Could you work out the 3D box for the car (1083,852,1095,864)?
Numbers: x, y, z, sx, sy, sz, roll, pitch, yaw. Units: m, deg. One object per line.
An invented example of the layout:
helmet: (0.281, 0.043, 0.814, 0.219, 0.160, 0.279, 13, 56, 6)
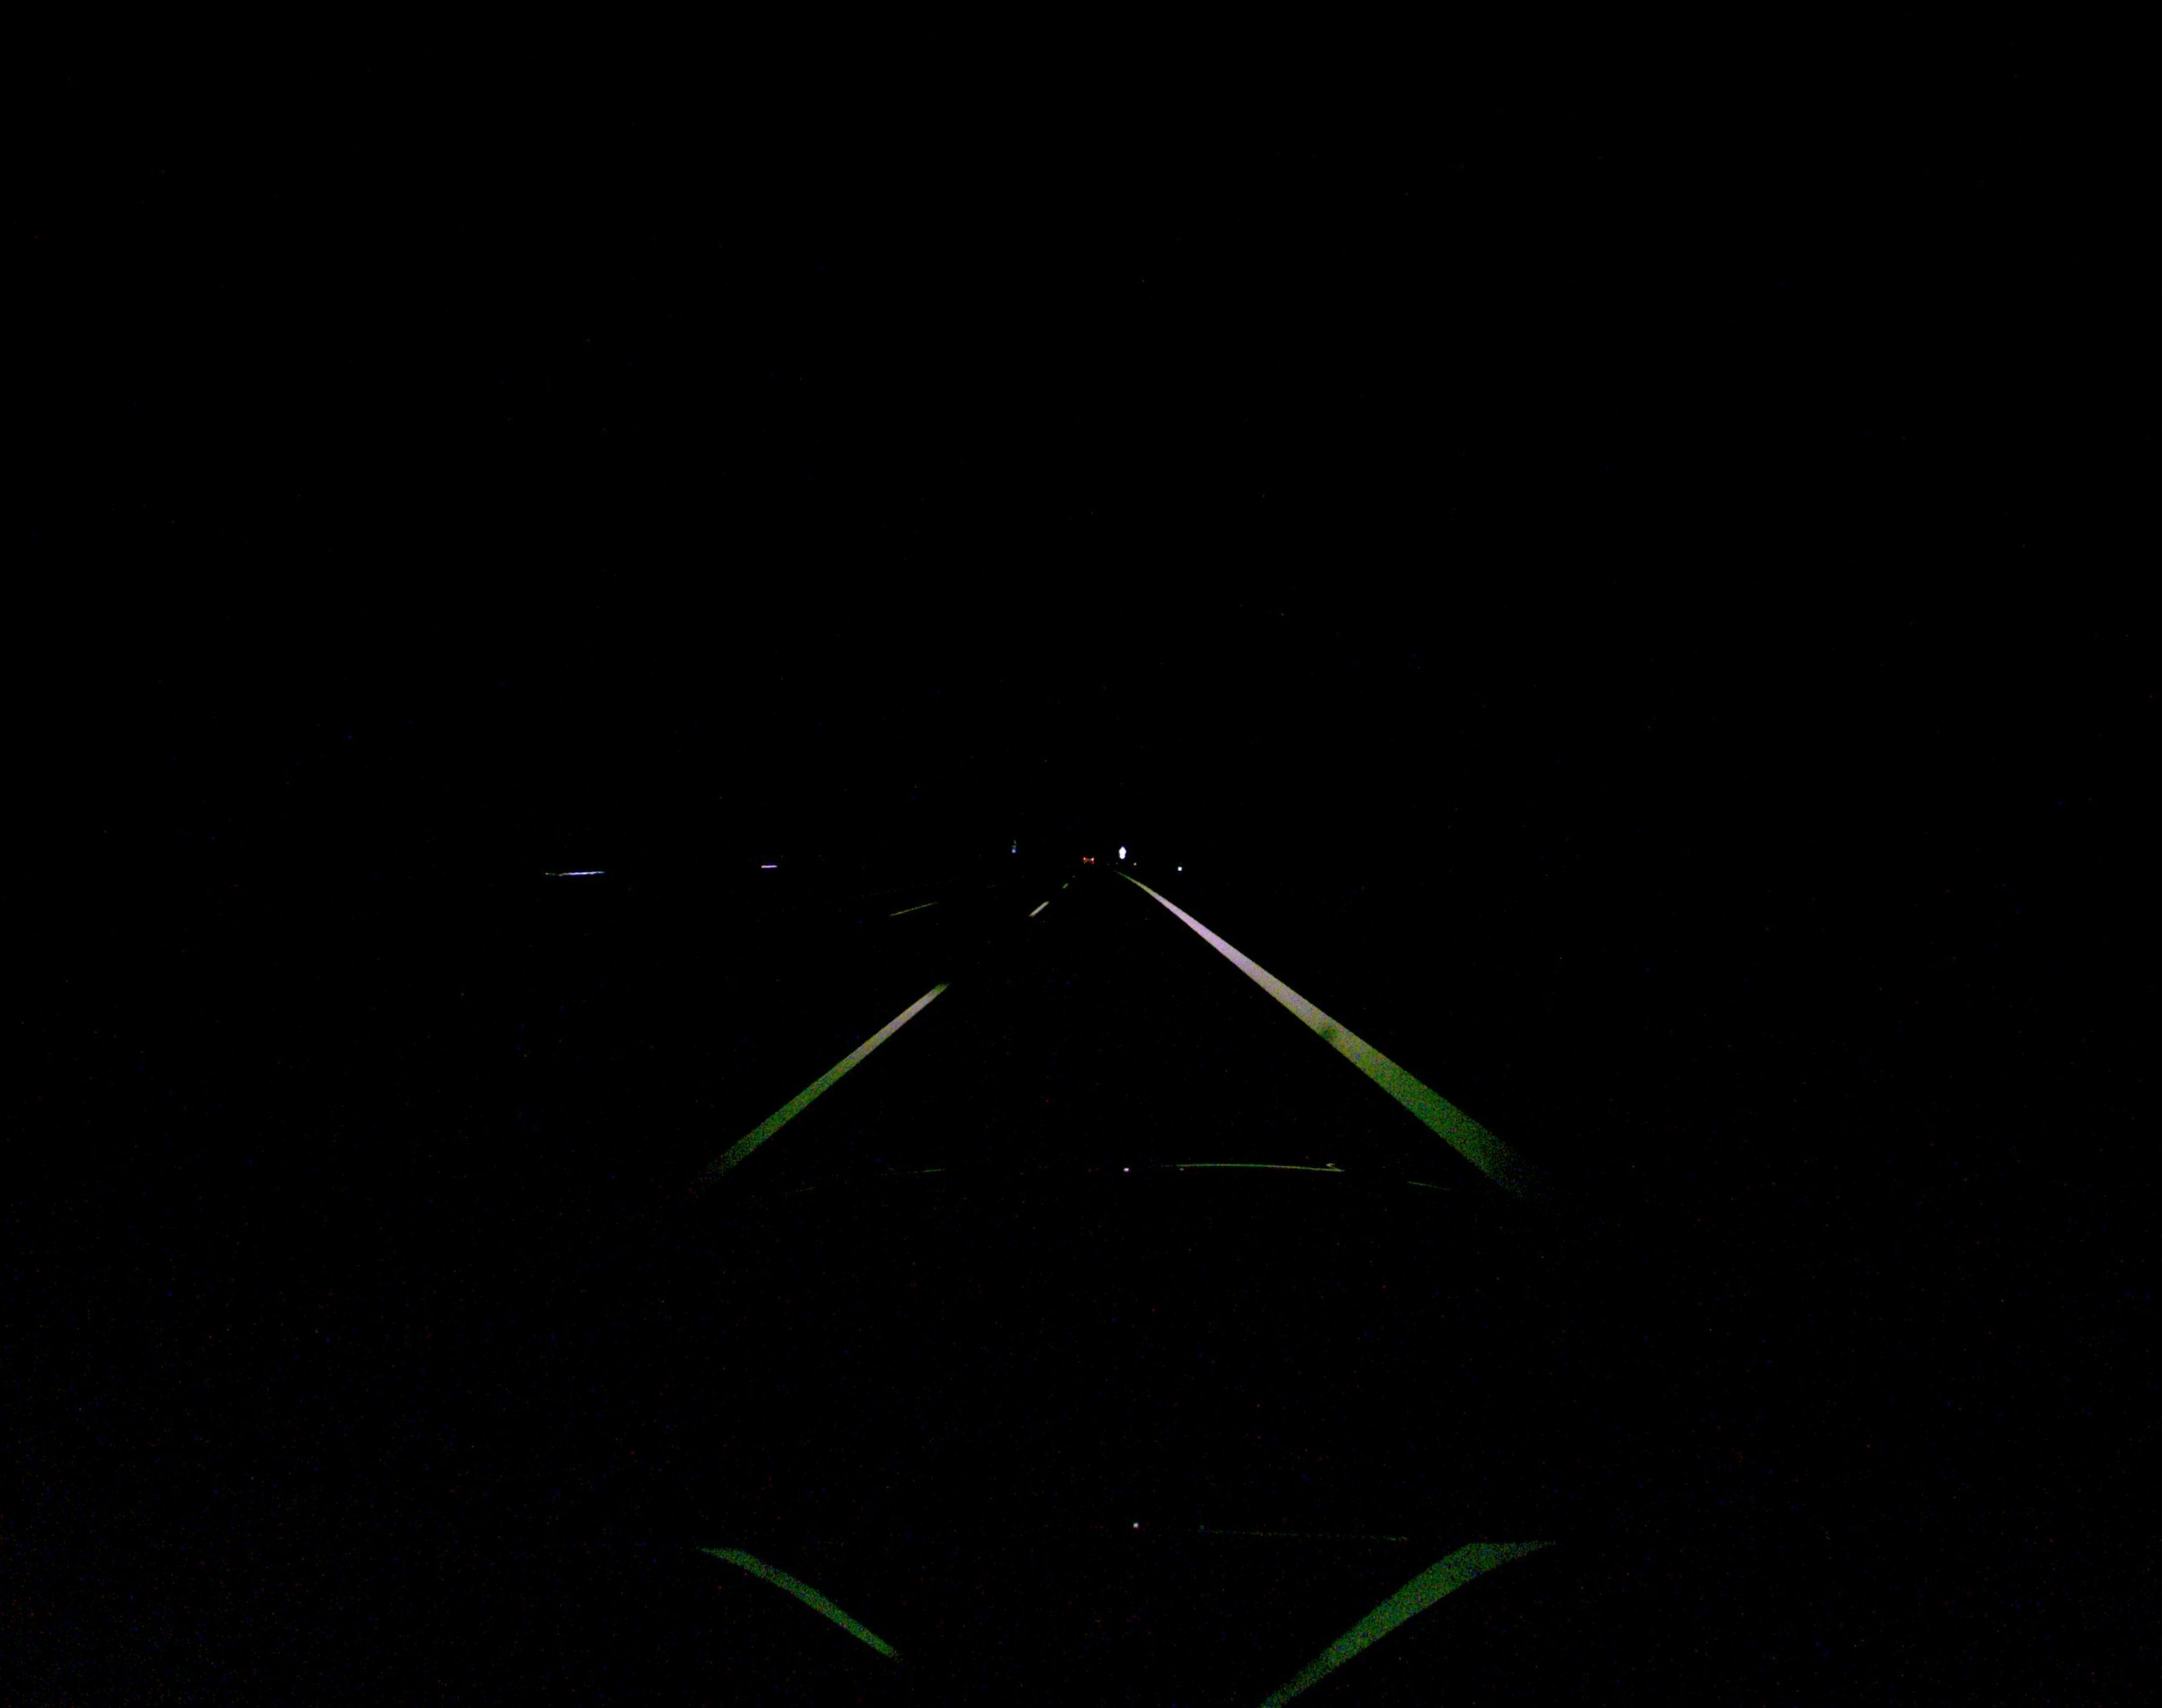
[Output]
car: (1.870, 0.859, 184.376, 2.518, 2.553, 6.053, 1, 0, 2)
